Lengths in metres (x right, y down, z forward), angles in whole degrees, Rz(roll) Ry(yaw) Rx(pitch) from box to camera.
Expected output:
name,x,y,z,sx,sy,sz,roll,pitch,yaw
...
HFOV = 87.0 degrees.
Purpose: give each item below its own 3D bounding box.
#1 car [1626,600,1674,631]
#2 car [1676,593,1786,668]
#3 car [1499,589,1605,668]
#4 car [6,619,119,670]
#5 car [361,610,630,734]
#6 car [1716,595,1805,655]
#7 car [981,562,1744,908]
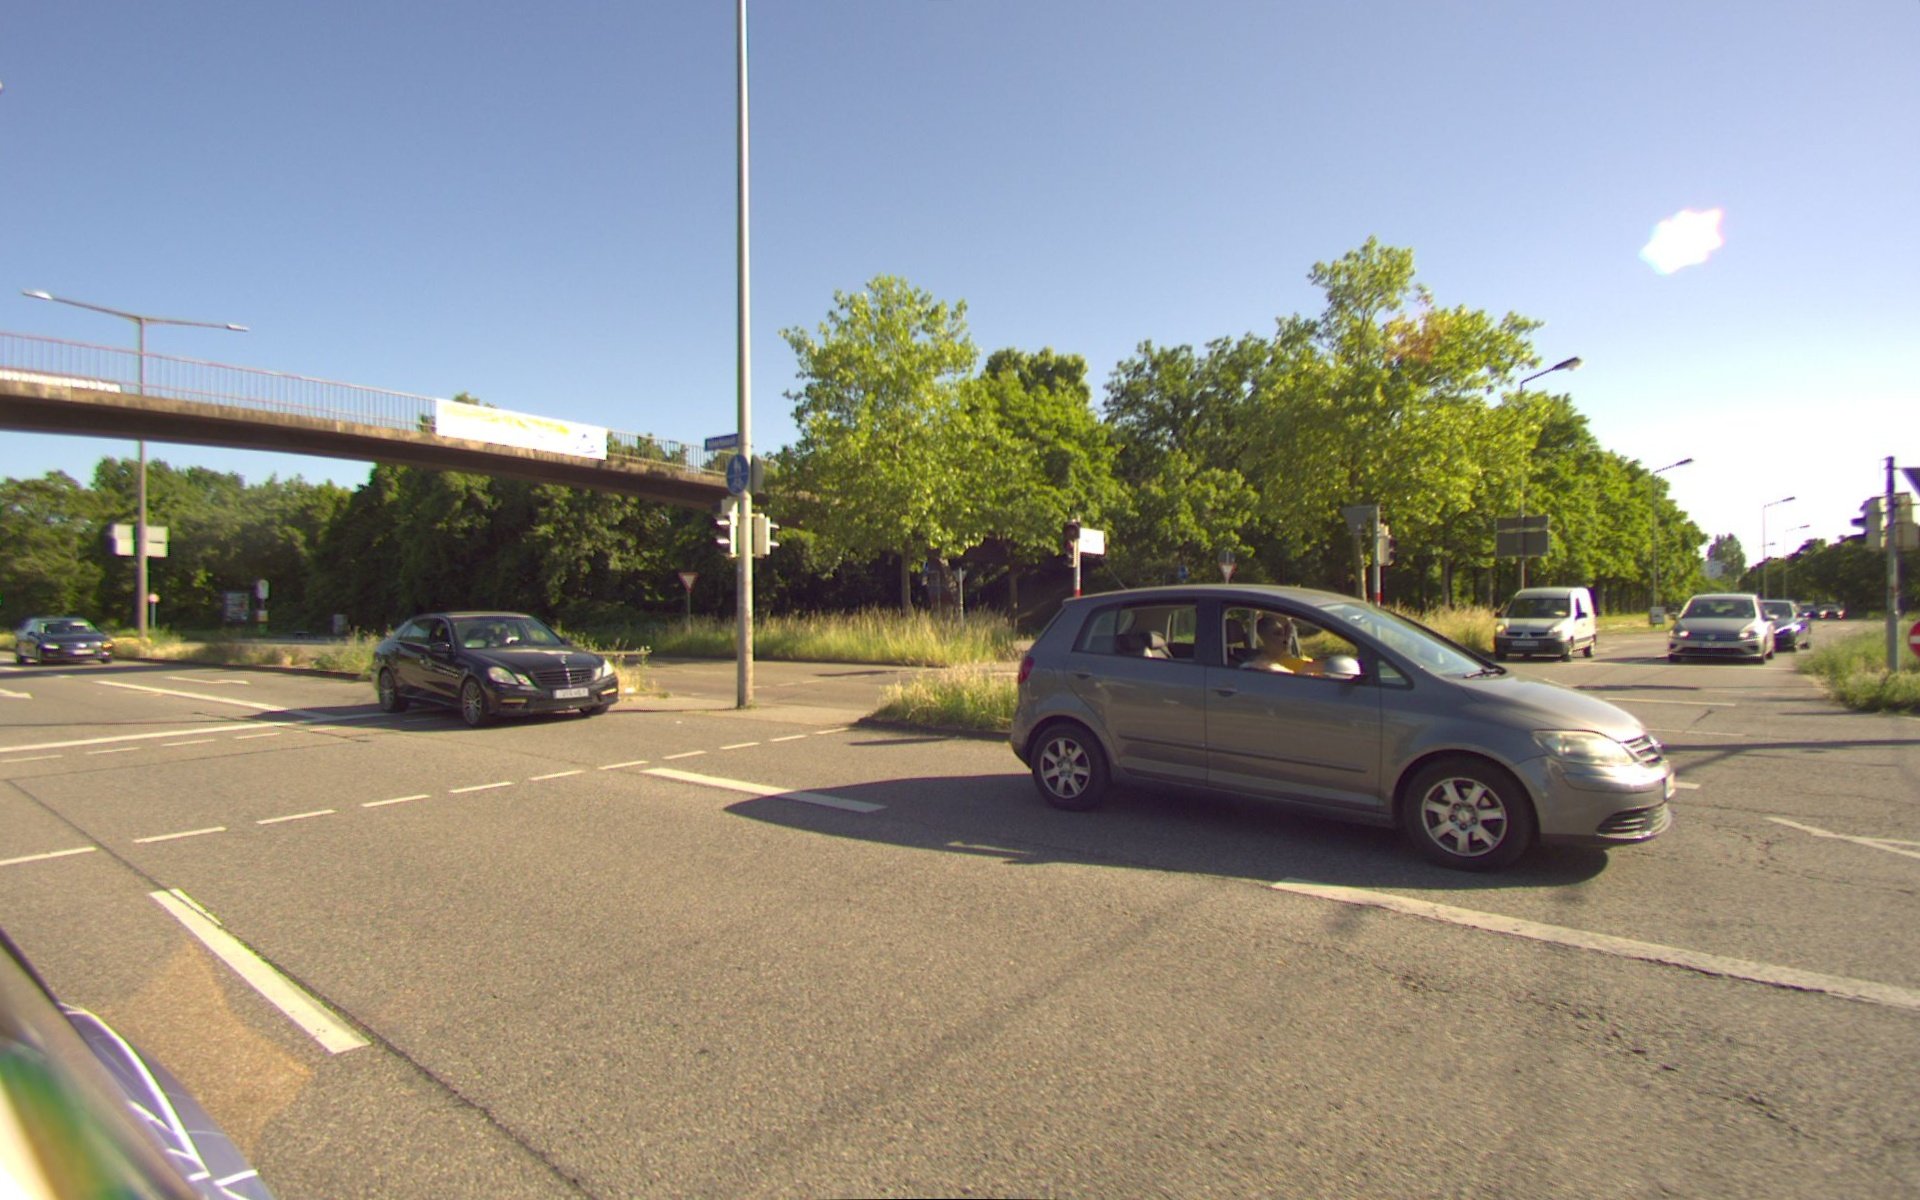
name,x,y,z,sx,sy,sz,roll,pitch,yaw
car,37.624,0.822,55.153,1.851,1.572,3.874,-1,-1,39
car,17.703,0.640,23.323,1.849,1.572,3.877,-1,-1,37
car,14.537,0.645,24.748,1.775,1.768,3.950,-1,-1,37
car,-28.719,1.396,32.358,3.991,1.507,1.776,-2,-2,34
car,-6.749,0.931,14.470,4.526,1.498,1.756,-1,-1,40
car,22.743,0.675,28.876,1.849,1.572,3.877,-1,-1,37
car,2.415,0.663,6.749,4.382,1.583,1.823,-1,-1,40
